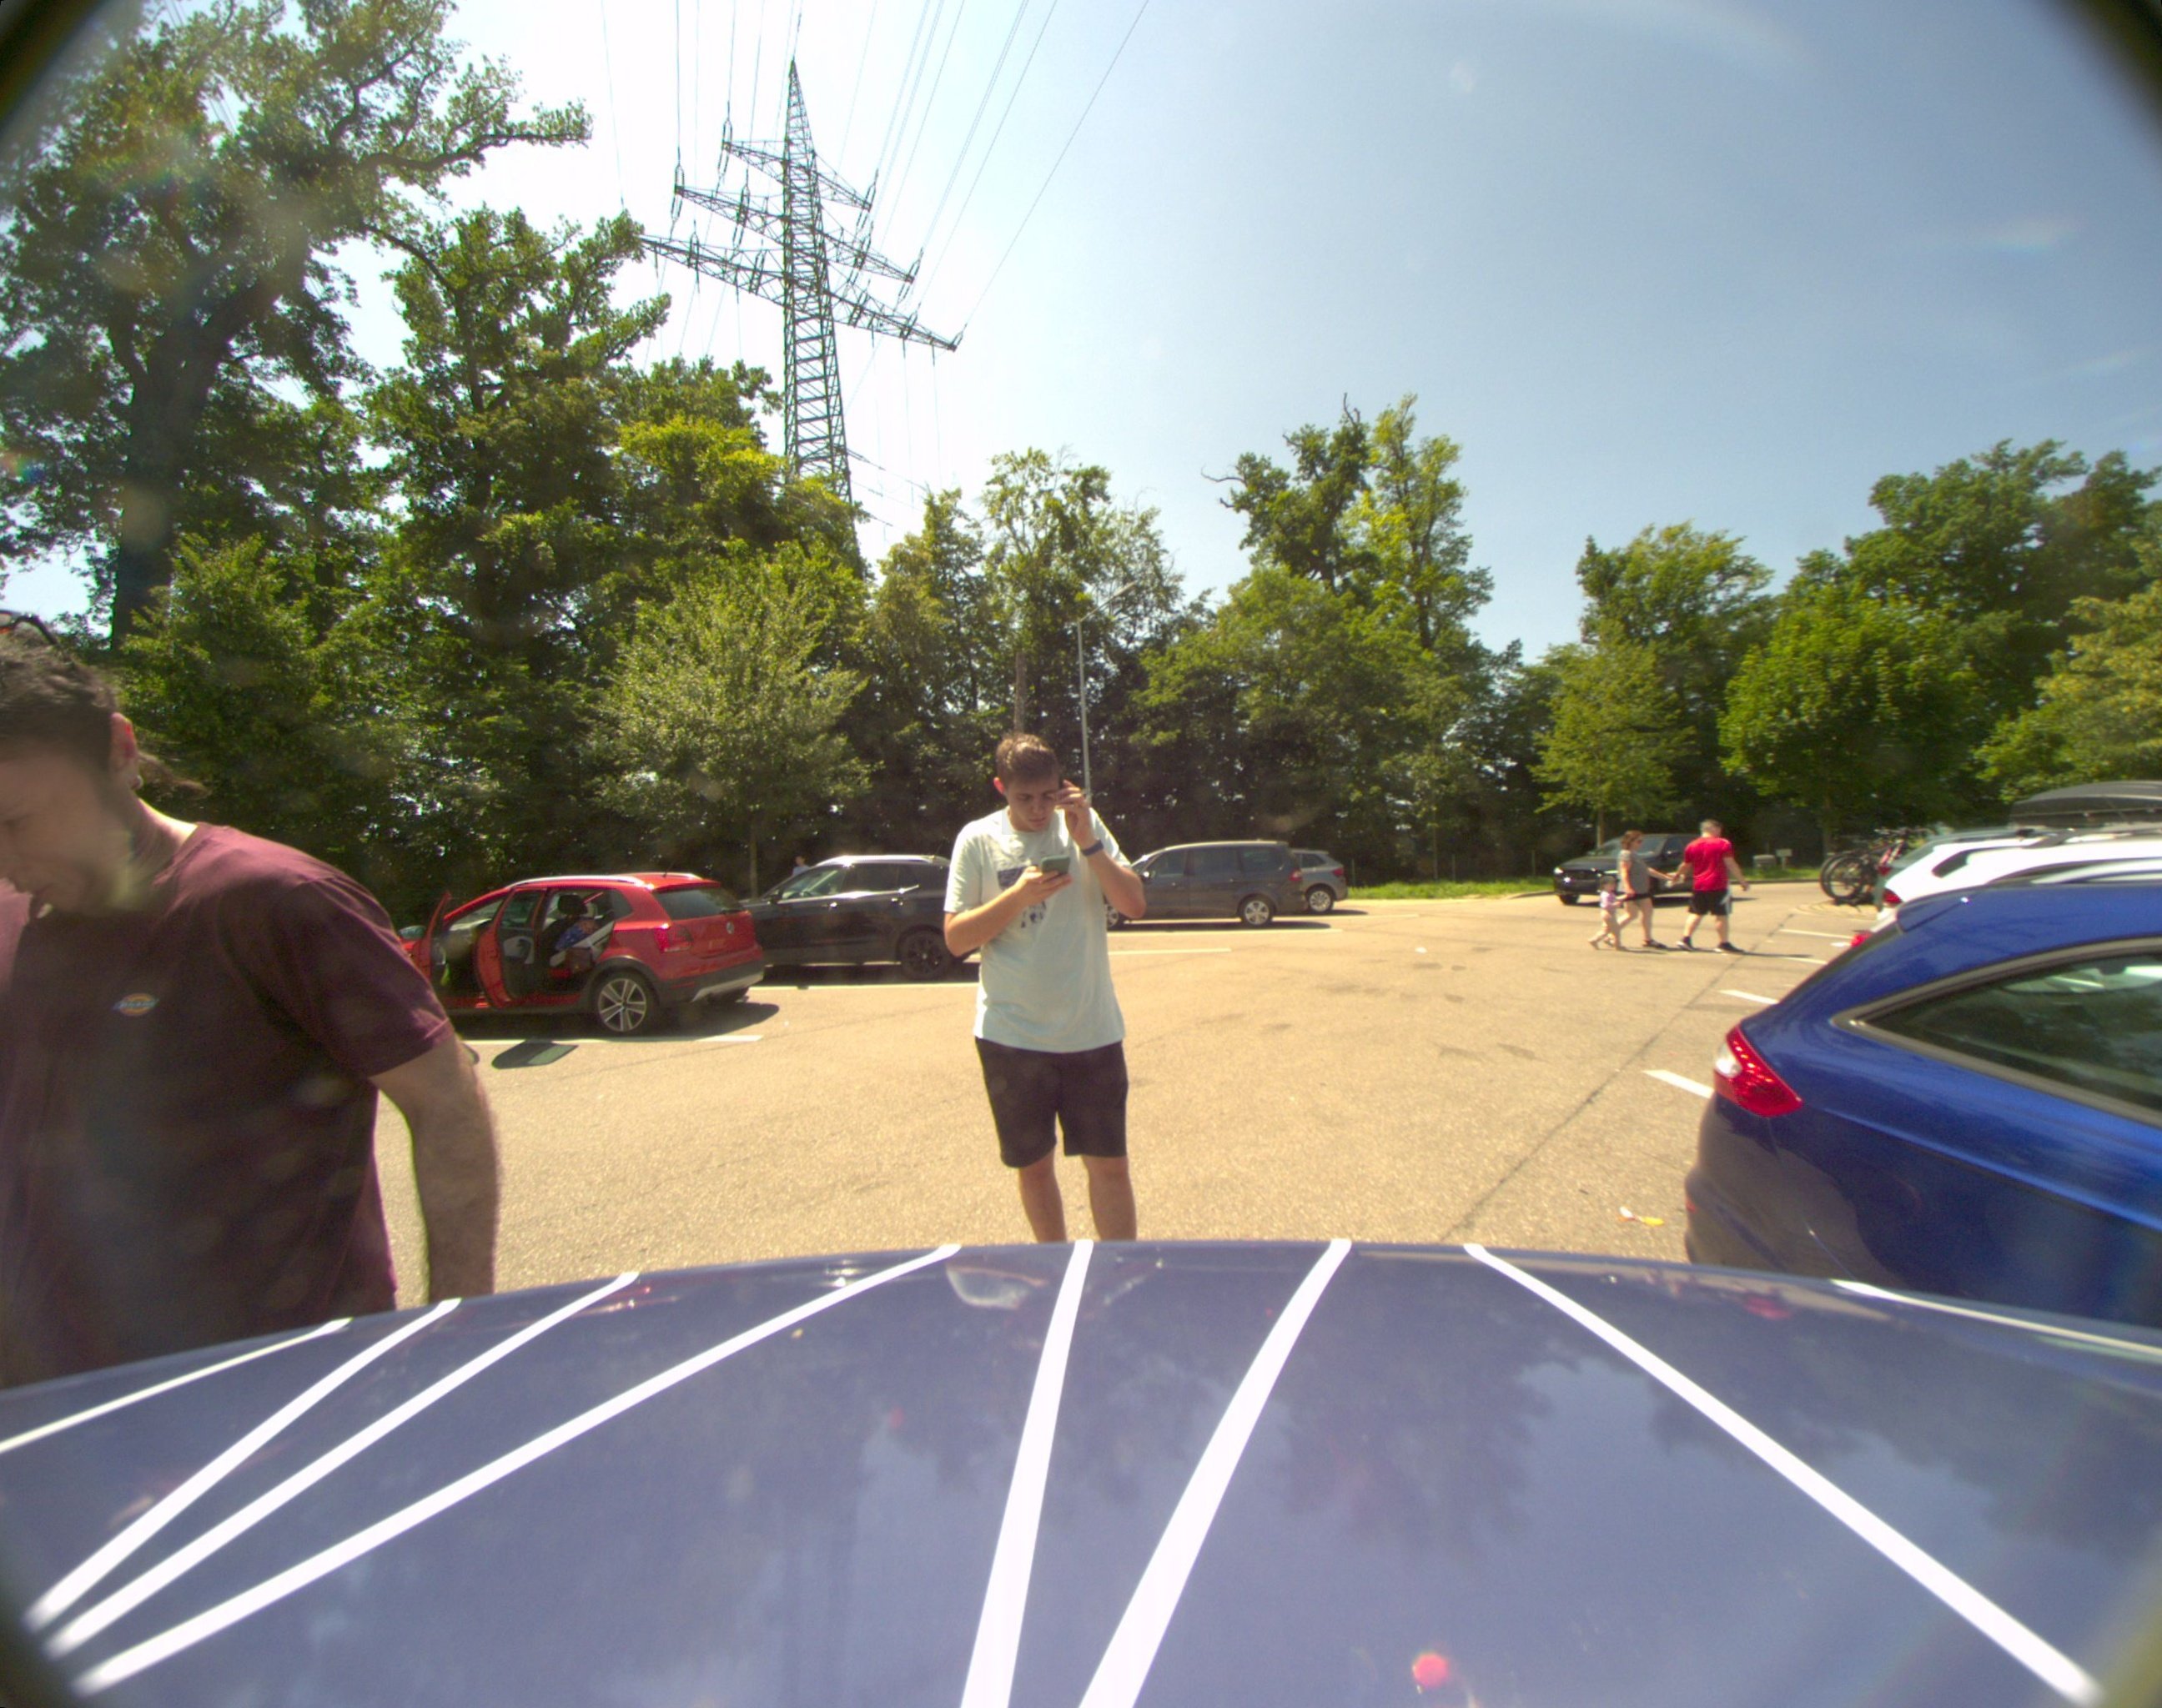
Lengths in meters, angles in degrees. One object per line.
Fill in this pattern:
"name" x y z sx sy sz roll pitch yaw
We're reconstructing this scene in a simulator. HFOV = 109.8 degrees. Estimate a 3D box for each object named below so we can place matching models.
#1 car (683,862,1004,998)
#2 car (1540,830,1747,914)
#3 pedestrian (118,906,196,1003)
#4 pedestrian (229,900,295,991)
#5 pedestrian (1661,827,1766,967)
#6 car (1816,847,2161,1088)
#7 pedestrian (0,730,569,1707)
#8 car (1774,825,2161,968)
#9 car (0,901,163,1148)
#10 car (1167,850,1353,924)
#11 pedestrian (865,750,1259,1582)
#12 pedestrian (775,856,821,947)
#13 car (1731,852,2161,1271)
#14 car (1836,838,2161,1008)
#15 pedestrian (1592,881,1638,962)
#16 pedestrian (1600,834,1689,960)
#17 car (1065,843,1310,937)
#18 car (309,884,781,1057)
"car" -3.045 0.956 10.292 3.732 1.578 1.739 -2 0 2
"car" 13.450 0.362 18.151 4.623 1.703 1.996 -2 1 -25
"pedestrian" -12.643 1.351 10.416 0.695 1.228 0.588 -3 0 43
"pedestrian" -11.962 1.317 11.105 0.695 1.228 0.588 -3 0 43
"pedestrian" 8.187 0.528 9.849 0.834 1.722 0.675 -2 0 -19
"car" 7.464 0.676 4.491 1.776 1.418 4.495 -3 -1 -1
"pedestrian" -1.142 0.837 0.738 0.859 1.823 0.866 -1 2 40
"car" 12.528 0.477 10.349 1.777 1.541 4.493 -3 -1 -5
"car" -8.896 1.172 4.970 3.934 1.534 1.812 -2 0 7
"car" 4.131 0.747 17.988 3.996 1.495 1.687 -2 1 3
"pedestrian" -0.052 0.734 2.147 0.861 1.940 0.688 -2 1 -4
"pedestrian" -5.861 0.959 15.734 0.767 1.821 0.519 -3 1 -29
"car" 4.861 0.745 2.332 1.776 1.491 4.495 -3 -1 -1
"car" 10.097 0.572 6.877 1.777 1.418 4.493 -3 -1 -5
"pedestrian" 7.225 0.894 10.275 0.433 1.038 0.440 -2 1 43
"pedestrian" 7.786 0.565 10.505 0.677 1.653 0.831 -2 1 -41
"car" 2.127 0.717 15.449 4.619 1.701 1.740 -2 0 9
"car" -5.201 1.099 7.615 3.730 1.440 1.591 -2 0 7
